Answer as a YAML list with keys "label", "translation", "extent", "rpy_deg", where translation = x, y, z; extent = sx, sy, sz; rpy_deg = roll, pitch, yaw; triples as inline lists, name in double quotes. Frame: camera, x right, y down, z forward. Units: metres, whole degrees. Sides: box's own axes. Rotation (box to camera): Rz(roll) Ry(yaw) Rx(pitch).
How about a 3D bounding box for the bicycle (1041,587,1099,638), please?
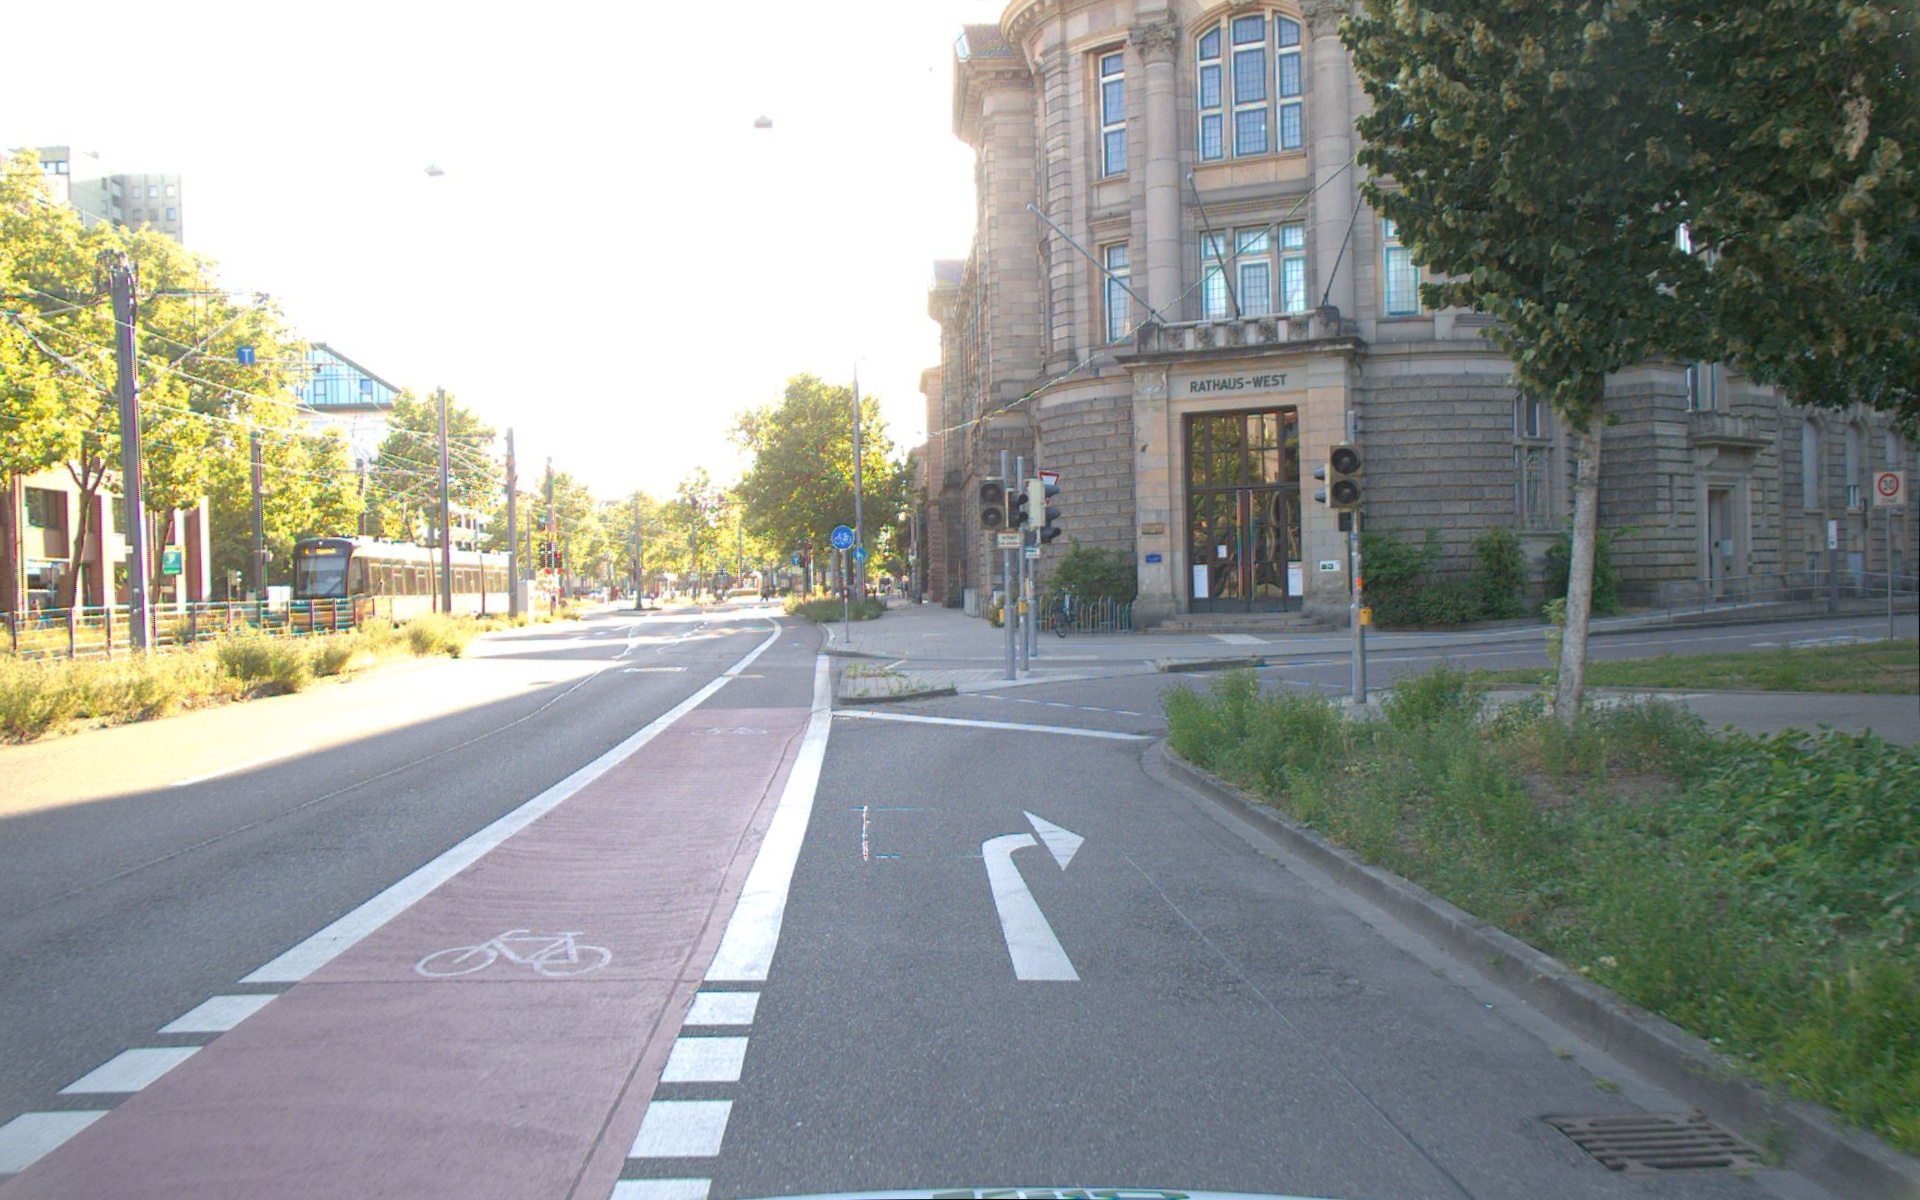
- label: "bicycle"
  translation: [2.793, 0.302, 41.645]
  extent: [0.849, 1.217, 2.240]
  rpy_deg: [-2, 0, 20]

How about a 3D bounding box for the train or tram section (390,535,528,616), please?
- label: "train or tram section"
  translation: [-25.796, -1.186, 86.572]
  extent: [3.052, 3.621, 19.908]
  rpy_deg: [-2, 0, -6]

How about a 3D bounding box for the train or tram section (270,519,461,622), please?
- label: "train or tram section"
  translation: [-23.943, -1.105, 67.988]
  extent: [3.052, 3.621, 17.457]
  rpy_deg: [-2, 0, -5]
